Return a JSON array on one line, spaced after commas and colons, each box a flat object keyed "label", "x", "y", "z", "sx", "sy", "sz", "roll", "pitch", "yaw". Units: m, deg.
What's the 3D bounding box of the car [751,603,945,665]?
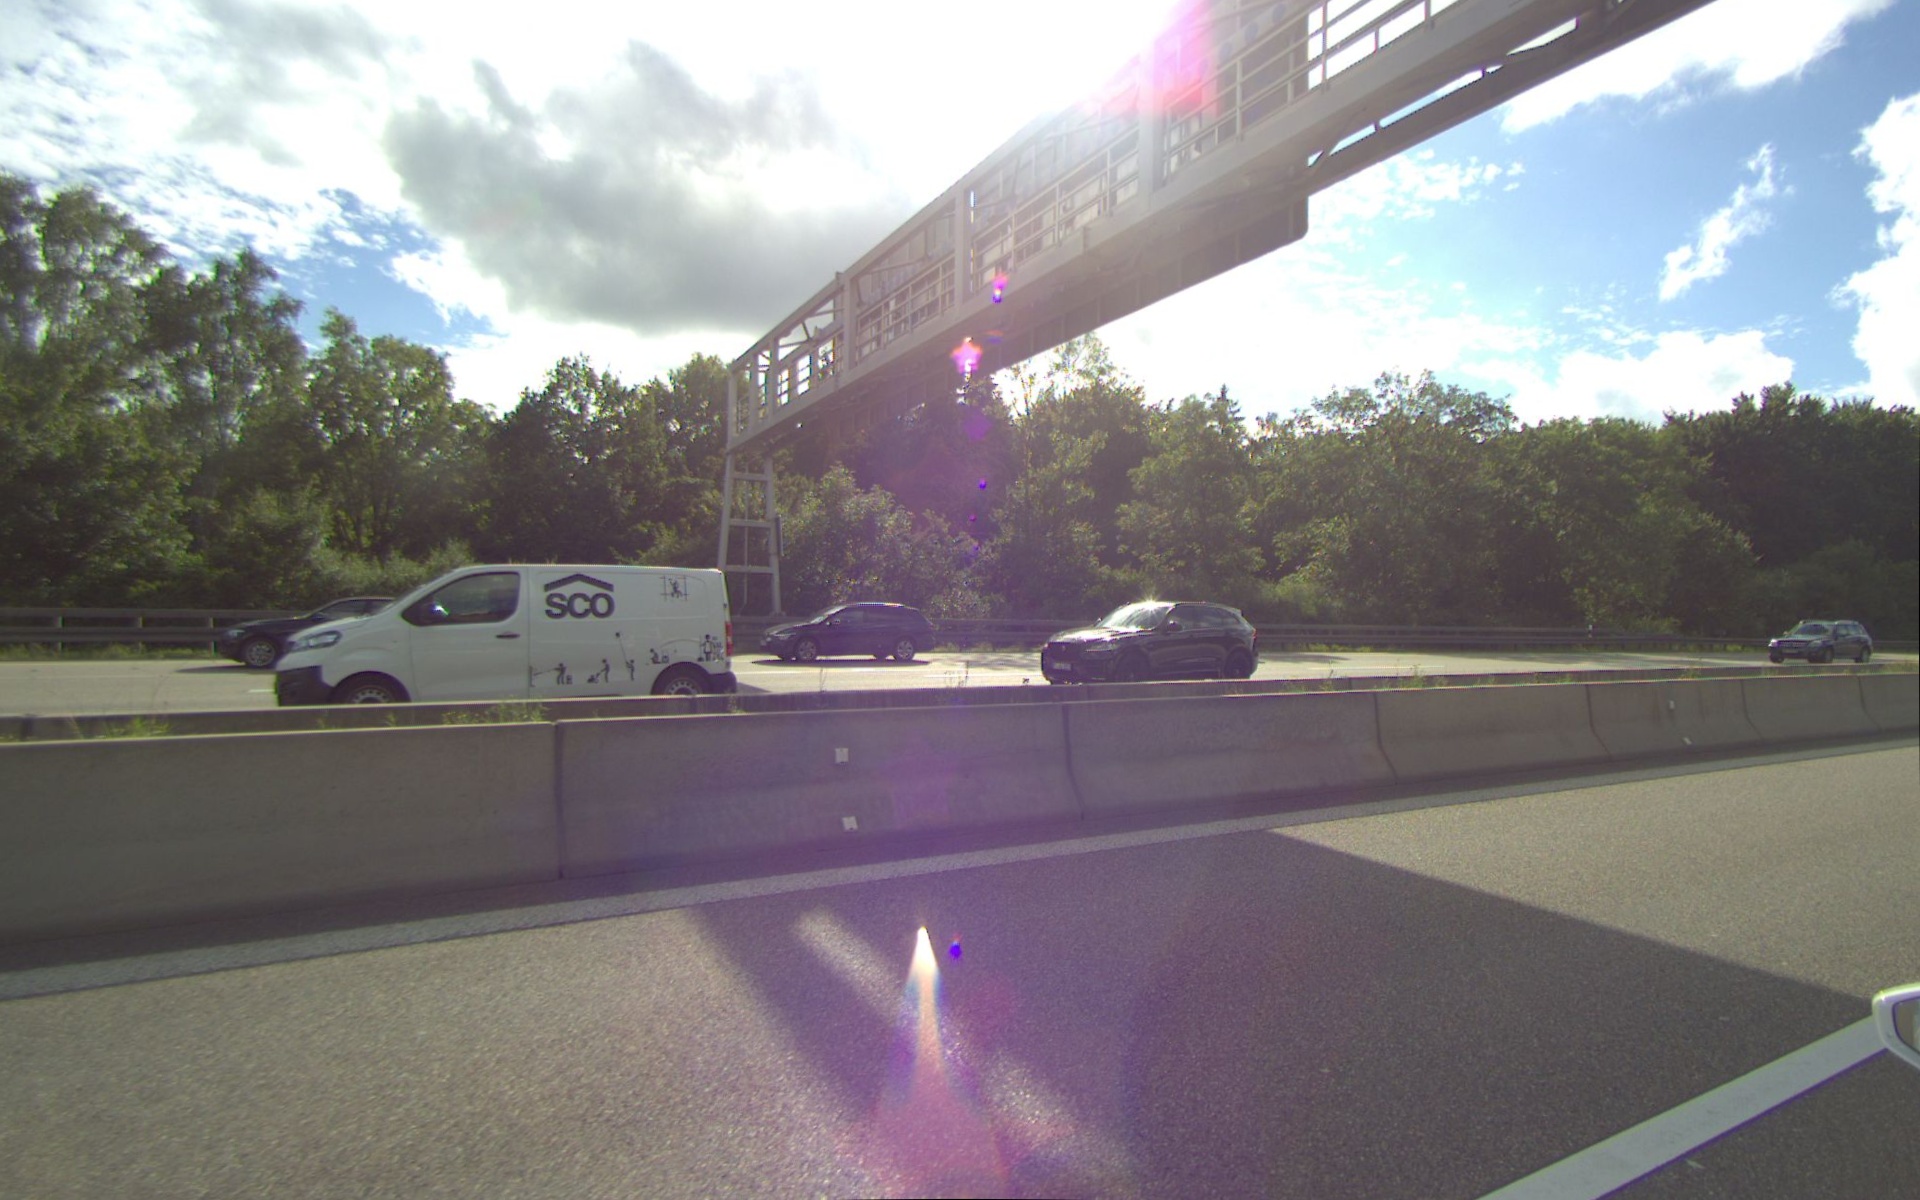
[{"label": "car", "x": -2.825, "y": 0.861, "z": 25.769, "sx": 4.653, "sy": 1.460, "sz": 1.693, "roll": 1, "pitch": 0, "yaw": -31}]

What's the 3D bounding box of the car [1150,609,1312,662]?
[{"label": "car", "x": 8.592, "y": 1.114, "z": 31.725, "sx": 5.065, "sy": 1.566, "sz": 1.810, "roll": 1, "pitch": 0, "yaw": -27}]

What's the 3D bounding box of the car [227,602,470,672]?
[{"label": "car", "x": -12.517, "y": 0.743, "z": 20.811, "sx": 4.135, "sy": 1.305, "sz": 1.693, "roll": 1, "pitch": 0, "yaw": -31}]

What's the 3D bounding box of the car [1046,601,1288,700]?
[{"label": "car", "x": 3.900, "y": 0.882, "z": 18.693, "sx": 4.446, "sy": 1.651, "sz": 1.690, "roll": 1, "pitch": 0, "yaw": -31}]

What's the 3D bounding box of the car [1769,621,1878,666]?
[{"label": "car", "x": 33.589, "y": 1.679, "z": 39.070, "sx": 4.421, "sy": 1.662, "sz": 1.660, "roll": 1, "pitch": 0, "yaw": -27}]

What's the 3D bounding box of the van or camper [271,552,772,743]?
[{"label": "van or camper", "x": -4.994, "y": 0.513, "z": 11.936, "sx": 5.095, "sy": 1.875, "sz": 1.853, "roll": 1, "pitch": 0, "yaw": -31}]
